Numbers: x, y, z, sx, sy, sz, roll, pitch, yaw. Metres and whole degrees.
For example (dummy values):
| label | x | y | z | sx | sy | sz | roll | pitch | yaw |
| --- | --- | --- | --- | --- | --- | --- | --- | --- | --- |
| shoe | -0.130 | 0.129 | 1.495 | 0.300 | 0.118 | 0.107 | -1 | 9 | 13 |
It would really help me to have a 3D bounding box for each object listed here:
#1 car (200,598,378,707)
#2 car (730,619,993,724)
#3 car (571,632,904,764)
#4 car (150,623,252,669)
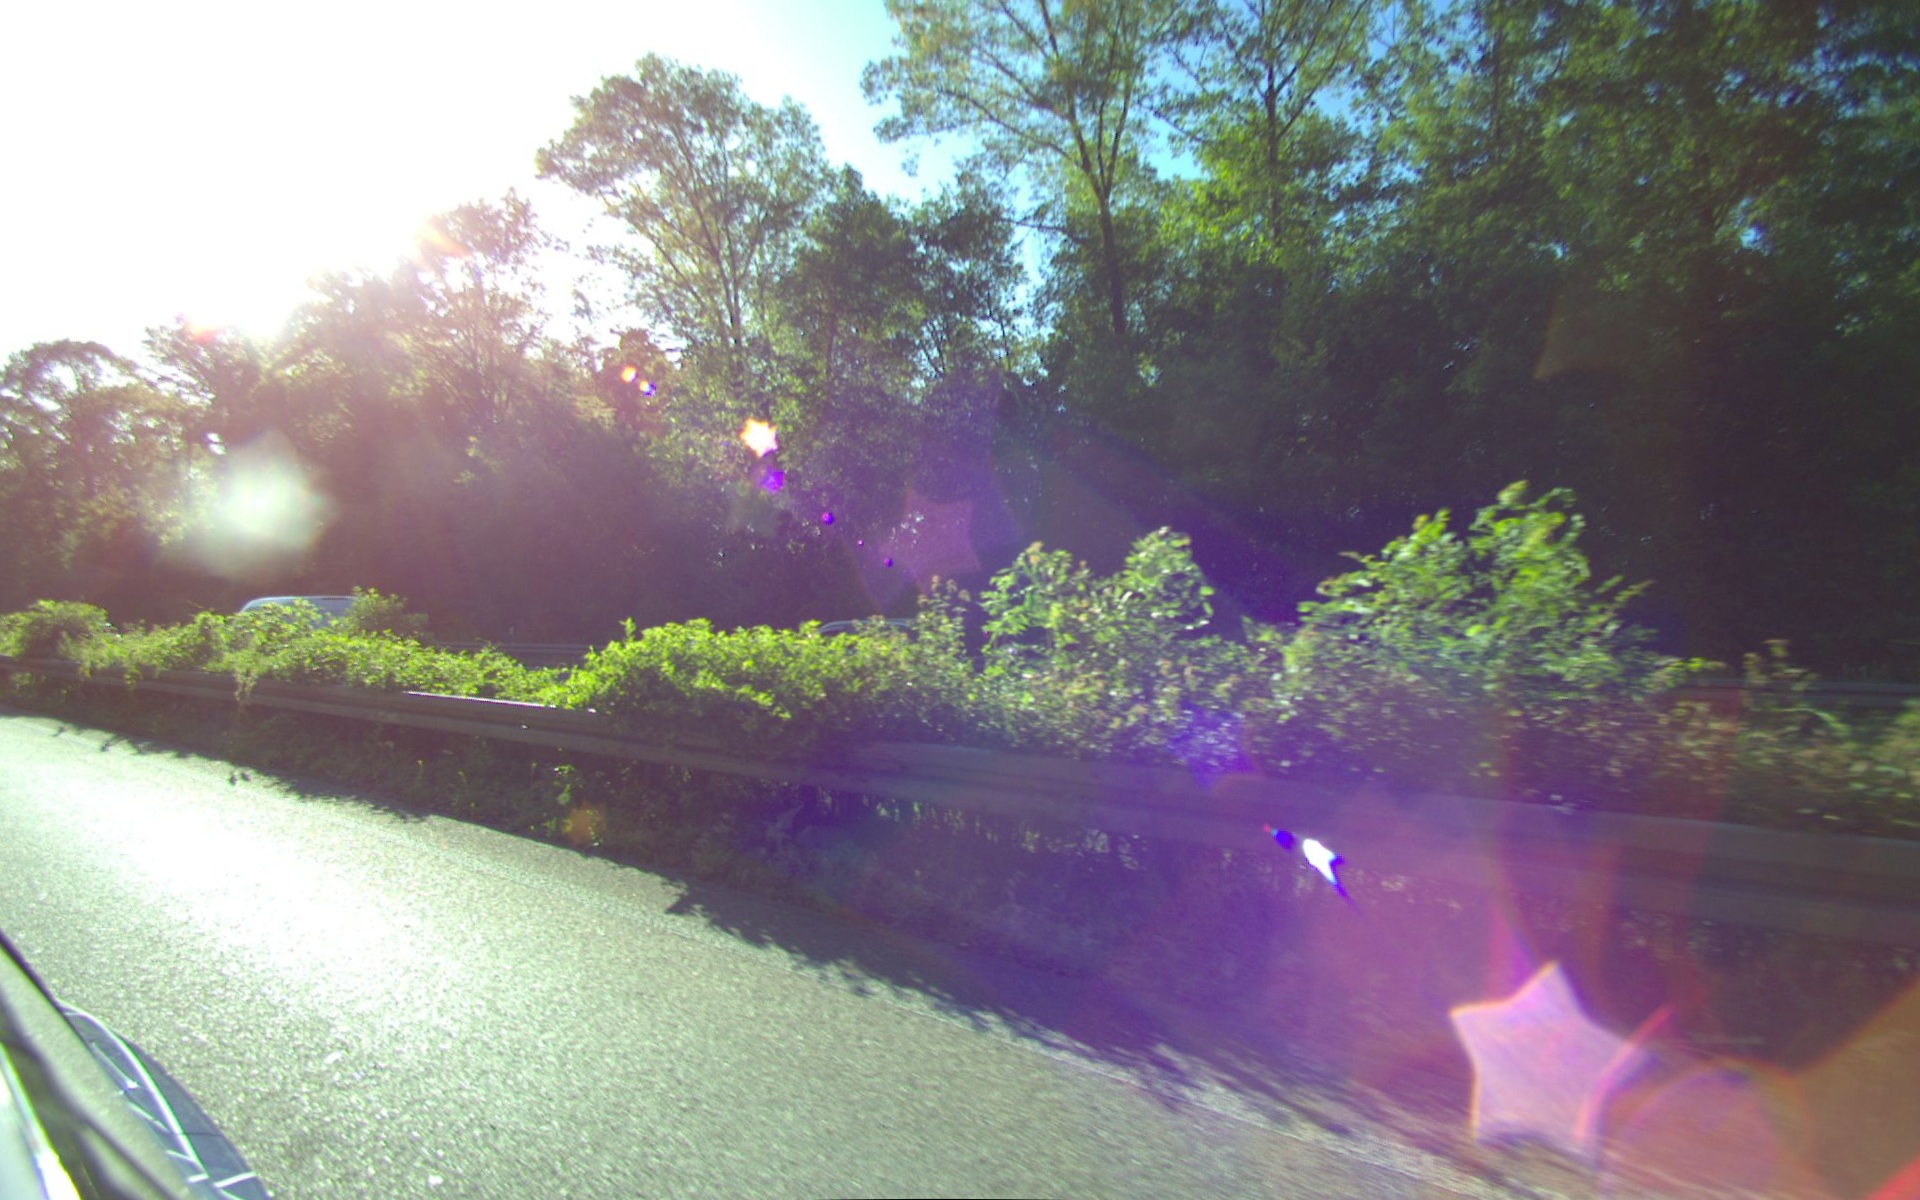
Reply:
| label | x | y | z | sx | sy | sz | roll | pitch | yaw |
| --- | --- | --- | --- | --- | --- | --- | --- | --- | --- |
| car | -15.842 | 1.129 | 23.746 | 5.779 | 2.270 | 1.895 | -1 | -1 | 40 |
| car | -1.914 | 1.206 | 18.702 | 4.918 | 1.672 | 1.817 | -1 | 0 | 37 |
| car | -3.143 | 1.191 | 13.773 | 4.709 | 1.425 | 1.794 | -1 | 0 | 37 |
| car | -29.391 | 1.728 | 39.146 | 4.494 | 1.639 | 1.881 | -1 | 0 | 35 |
